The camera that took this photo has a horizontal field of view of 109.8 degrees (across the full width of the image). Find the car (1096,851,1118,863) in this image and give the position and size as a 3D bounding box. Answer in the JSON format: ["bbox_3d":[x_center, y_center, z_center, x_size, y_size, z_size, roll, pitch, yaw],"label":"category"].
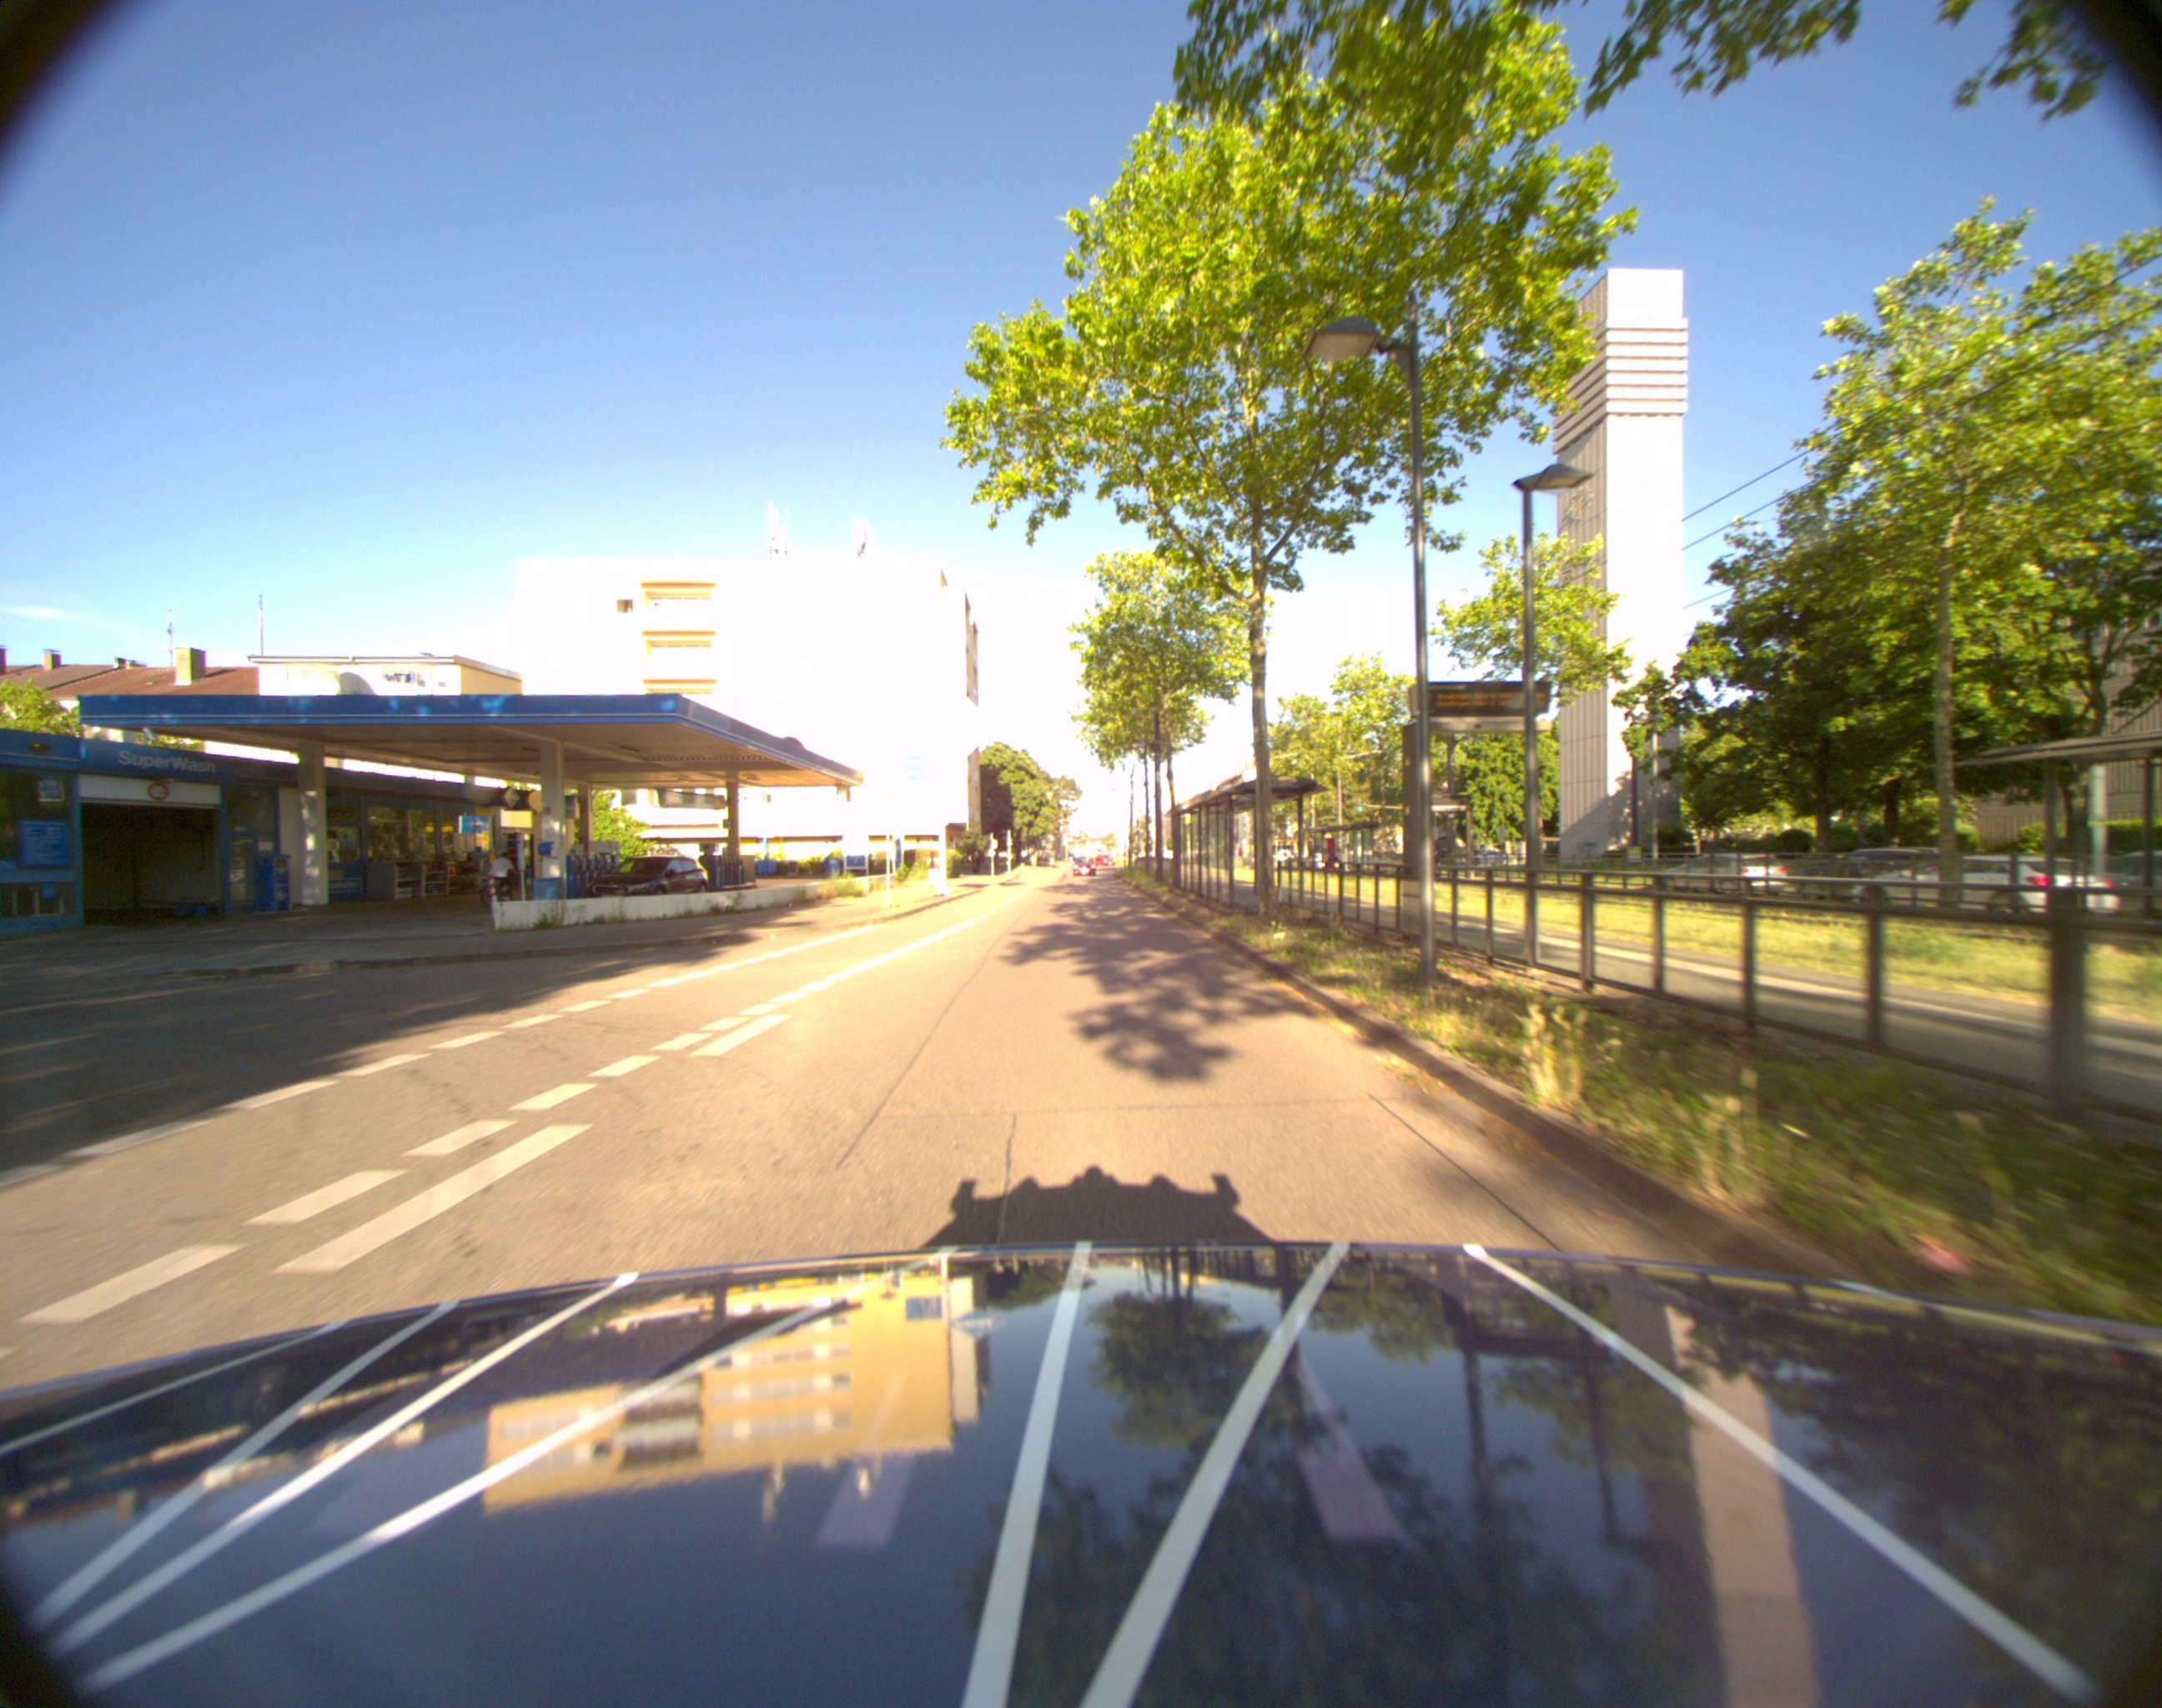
[{"bbox_3d":[3.249,0.358,96.434,1.545,1.522,3.596,-3,1,-20],"label":"car"}]

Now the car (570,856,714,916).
[{"bbox_3d":[-12.007,0.798,21.111,1.725,1.455,4.005,-1,0,-1],"label":"car"}]

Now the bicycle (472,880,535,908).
[{"bbox_3d":[-16.739,1.146,22.076,0.540,0.711,1.708,-1,0,-1],"label":"bicycle"}]

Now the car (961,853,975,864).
[{"bbox_3d":[-19.125,0.739,128.814,2.001,1.689,4.272,-1,1,-13],"label":"car"}]

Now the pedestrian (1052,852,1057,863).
[{"bbox_3d":[-3.883,0.485,111.855,0.596,1.518,0.633,-1,1,-10],"label":"pedestrian"}]

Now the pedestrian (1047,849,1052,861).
[{"bbox_3d":[-4.653,0.176,111.664,0.567,1.688,0.595,-1,1,-18],"label":"pedestrian"}]

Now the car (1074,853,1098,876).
[{"bbox_3d":[0.395,0.751,55.967,1.619,1.537,4.277,-1,1,1],"label":"car"}]

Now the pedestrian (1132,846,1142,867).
[{"bbox_3d":[4.141,0.152,56.116,0.660,1.520,0.538,-1,1,-7],"label":"pedestrian"}]

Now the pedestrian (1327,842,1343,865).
[{"bbox_3d":[14.903,-0.034,44.592,0.696,1.334,0.734,-1,1,2],"label":"pedestrian"}]

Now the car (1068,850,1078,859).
[{"bbox_3d":[-1.532,0.055,152.886,1.999,1.806,3.999,-2,1,0],"label":"car"}]

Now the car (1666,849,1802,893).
[{"bbox_3d":[23.380,0.563,27.408,1.598,1.436,3.930,0,0,1],"label":"car"}]

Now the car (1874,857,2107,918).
[{"bbox_3d":[20.602,0.690,17.418,1.266,1.234,3.375,0,0,-1],"label":"car"}]

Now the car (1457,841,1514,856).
[{"bbox_3d":[39.587,-0.543,74.409,4.525,1.478,2.000,-1,0,0],"label":"car"}]

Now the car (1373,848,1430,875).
[{"bbox_3d":[17.731,0.396,42.173,1.609,1.419,3.536,-1,0,-2],"label":"car"}]

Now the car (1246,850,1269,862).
[{"bbox_3d":[19.277,0.225,83.037,1.329,1.317,3.415,-1,1,-6],"label":"car"}]

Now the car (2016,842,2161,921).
[{"bbox_3d":[23.202,0.559,16.235,1.598,1.626,3.930,0,0,0],"label":"car"}]

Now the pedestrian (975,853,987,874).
[{"bbox_3d":[-8.803,0.848,66.857,0.790,1.817,1.032,0,2,-17],"label":"pedestrian"}]

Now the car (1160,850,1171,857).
[{"bbox_3d":[21.662,-0.239,195.331,2.144,1.697,5.402,-1,1,0],"label":"car"}]

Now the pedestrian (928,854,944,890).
[{"bbox_3d":[-6.994,0.848,36.617,0.605,1.692,0.552,-1,1,4],"label":"pedestrian"}]

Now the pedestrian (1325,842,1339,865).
[{"bbox_3d":[15.017,-0.044,45.506,0.733,1.334,0.774,-1,1,14],"label":"pedestrian"}]

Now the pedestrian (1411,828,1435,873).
[{"bbox_3d":[14.402,-0.143,32.035,0.722,1.856,0.637,-1,1,1],"label":"pedestrian"}]

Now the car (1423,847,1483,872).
[{"bbox_3d":[21.202,0.302,43.484,1.555,1.346,4.000,-1,1,1],"label":"car"}]

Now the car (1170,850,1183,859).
[{"bbox_3d":[20.398,0.091,161.884,2.144,1.697,5.445,-1,1,0],"label":"car"}]

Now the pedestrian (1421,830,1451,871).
[{"bbox_3d":[14.609,-0.144,31.279,0.885,1.680,0.754,-1,1,1],"label":"pedestrian"}]

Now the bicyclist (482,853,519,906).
[{"bbox_3d":[-16.741,0.723,21.919,0.540,1.511,0.628,-1,1,-1],"label":"bicyclist"}]

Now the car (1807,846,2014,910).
[{"bbox_3d":[23.078,0.616,21.388,1.598,1.623,3.930,0,0,1],"label":"car"}]

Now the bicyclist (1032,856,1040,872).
[{"bbox_3d":[-4.347,0.985,73.701,0.678,1.466,0.936,-1,1,0],"label":"bicyclist"}]

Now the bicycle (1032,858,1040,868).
[{"bbox_3d":[-4.358,0.906,73.706,0.684,0.925,1.735,-1,0,-1],"label":"bicycle"}]

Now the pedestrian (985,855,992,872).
[{"bbox_3d":[-8.179,0.851,67.028,0.505,1.537,0.518,0,2,-17],"label":"pedestrian"}]

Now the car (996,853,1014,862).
[{"bbox_3d":[-12.607,0.564,126.415,1.997,1.316,4.280,-1,1,10],"label":"car"}]
